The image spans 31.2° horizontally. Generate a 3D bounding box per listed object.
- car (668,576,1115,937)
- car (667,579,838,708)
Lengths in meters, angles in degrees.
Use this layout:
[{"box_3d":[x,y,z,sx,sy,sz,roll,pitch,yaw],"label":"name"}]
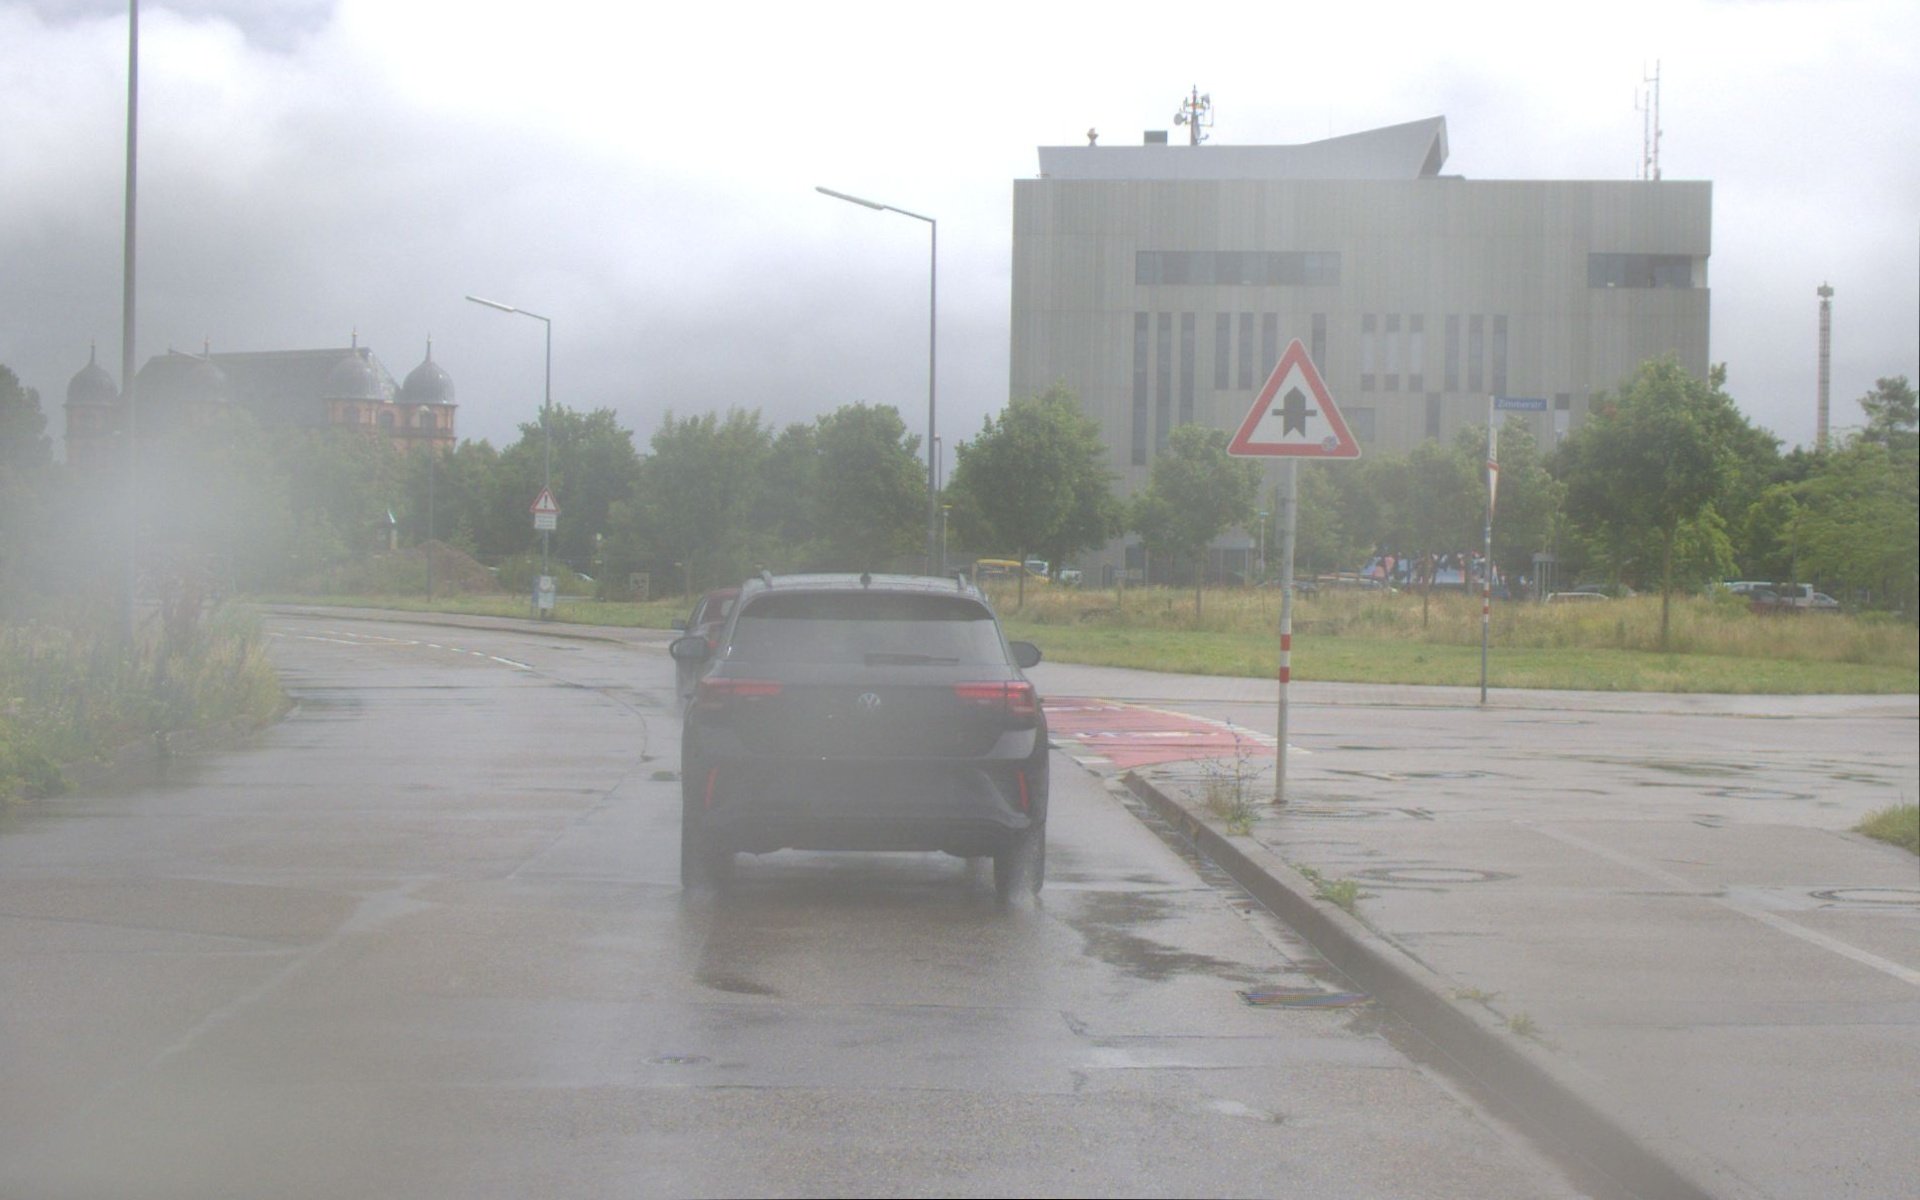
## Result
[{"box_3d":[-0.467,0.701,17.770,1.986,1.515,4.001,-3,1,-4],"label":"car"},{"box_3d":[-2.613,0.497,42.510,1.841,1.437,4.001,-2,1,-7],"label":"car"}]
